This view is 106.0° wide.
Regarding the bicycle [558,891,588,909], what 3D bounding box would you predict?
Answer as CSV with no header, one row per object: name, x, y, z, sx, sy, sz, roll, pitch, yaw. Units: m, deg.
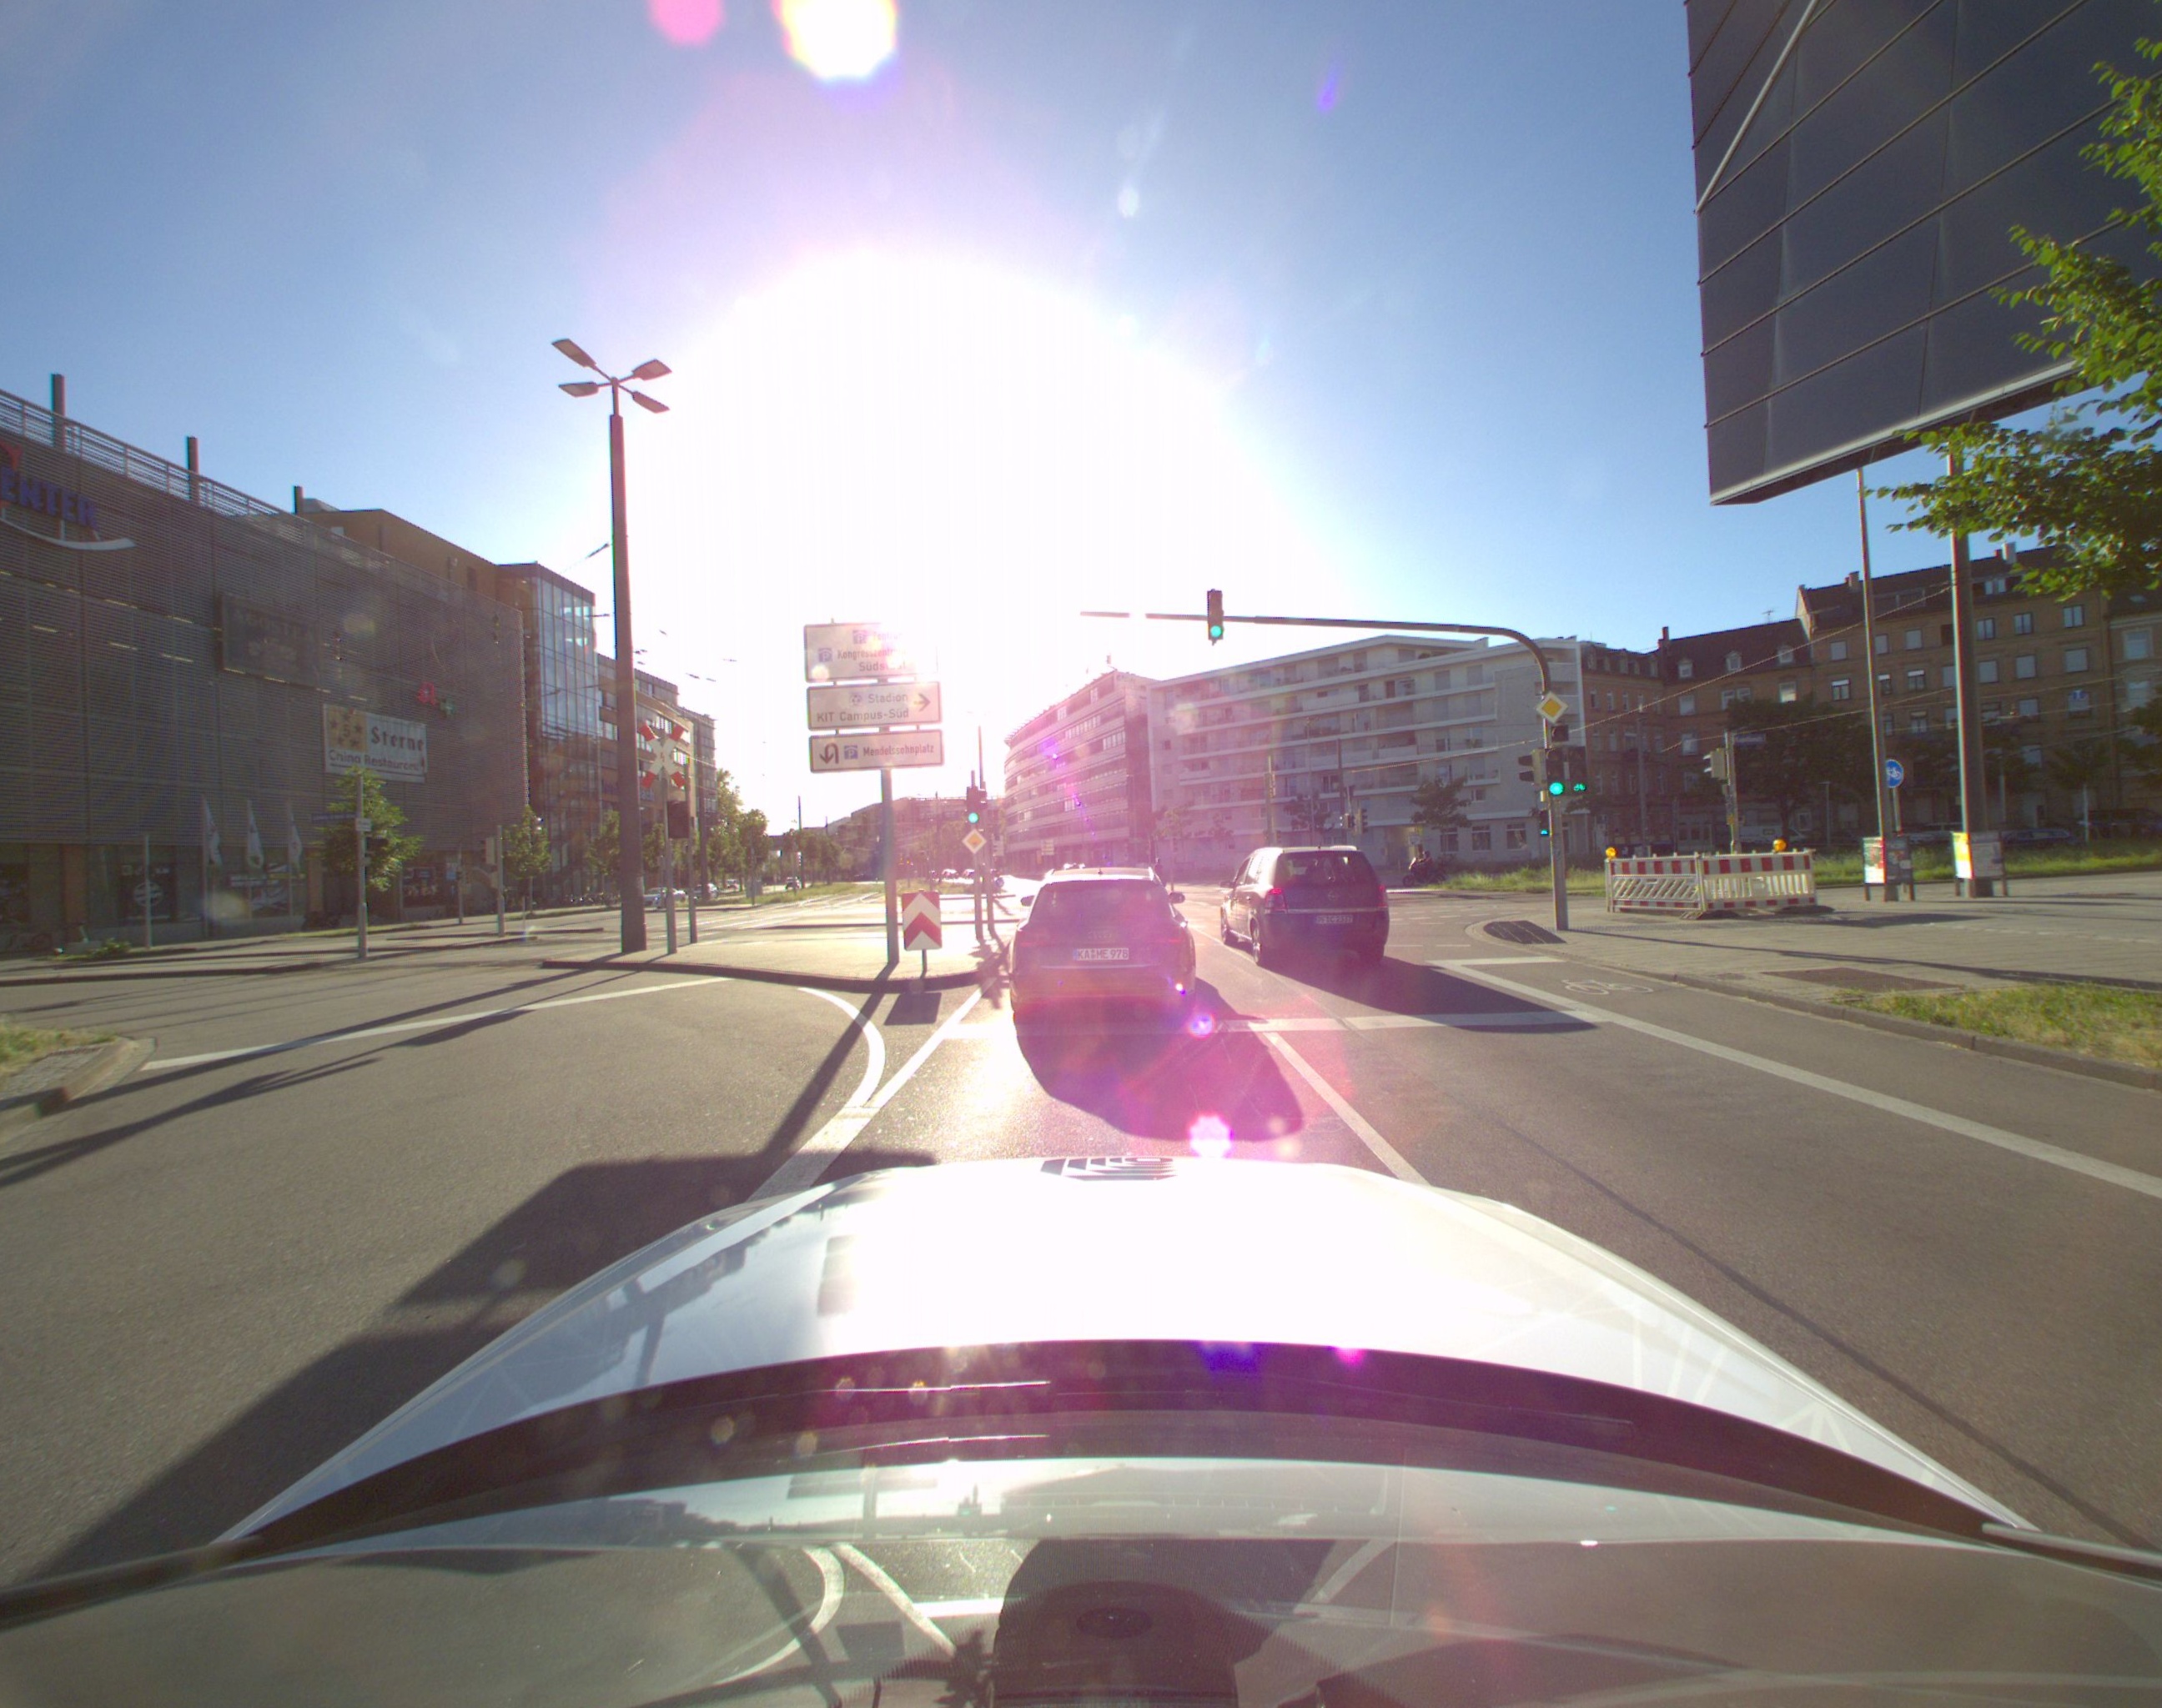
bicycle,-43.751,3.961,70.091,2.070,1.433,0.863,-4,-2,10

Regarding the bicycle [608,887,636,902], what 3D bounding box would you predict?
bicycle,-47.224,4.165,83.763,2.591,1.433,0.773,-4,-2,10

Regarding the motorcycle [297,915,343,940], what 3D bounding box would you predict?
motorcycle,-41.901,4.027,44.852,0.673,1.238,1.893,-3,-2,1

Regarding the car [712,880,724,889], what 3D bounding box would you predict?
car,-96.827,8.144,217.166,2.010,2.013,3.954,-3,0,-37

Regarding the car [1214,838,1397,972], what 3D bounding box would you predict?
car,3.214,0.681,12.553,1.739,1.696,4.261,-1,-1,1

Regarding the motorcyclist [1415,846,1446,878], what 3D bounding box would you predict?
motorcyclist,16.991,0.393,39.630,0.922,1.481,1.171,-3,-1,-1

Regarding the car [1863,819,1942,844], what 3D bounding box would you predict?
car,58.367,-1.586,57.941,1.981,1.486,4.012,-4,-2,11

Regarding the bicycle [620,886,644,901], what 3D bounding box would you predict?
bicycle,-47.460,4.192,86.048,2.231,1.433,0.720,-4,-2,10

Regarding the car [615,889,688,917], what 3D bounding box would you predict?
car,-28.233,3.184,53.665,1.983,1.546,4.538,-3,-1,6

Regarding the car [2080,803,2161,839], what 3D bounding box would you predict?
car,74.021,-2.331,57.211,4.354,2.190,2.013,-5,-2,37

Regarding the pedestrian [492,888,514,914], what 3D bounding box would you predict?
pedestrian,-42.519,3.463,59.919,0.823,1.824,0.905,-4,-2,3

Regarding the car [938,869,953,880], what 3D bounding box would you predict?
car,-23.024,3.432,138.606,1.998,1.706,3.977,-3,-2,-16

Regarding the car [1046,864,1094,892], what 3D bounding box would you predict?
car,-0.774,1.557,53.874,2.008,1.715,4.345,-1,0,-18

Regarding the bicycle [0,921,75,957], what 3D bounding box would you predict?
bicycle,-41.977,3.391,32.402,0.796,1.220,2.418,-3,-1,5

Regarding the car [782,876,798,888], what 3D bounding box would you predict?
car,-42.312,4.114,118.568,2.000,1.640,4.383,-2,-1,-19

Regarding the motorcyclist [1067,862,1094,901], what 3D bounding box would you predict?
motorcyclist,-0.028,0.967,28.951,0.861,1.326,0.680,-2,-1,-5

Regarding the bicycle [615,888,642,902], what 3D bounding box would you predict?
bicycle,-47.335,4.301,85.191,2.399,1.236,0.747,-4,-2,10

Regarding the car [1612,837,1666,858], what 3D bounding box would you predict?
car,46.242,-0.574,67.499,4.010,1.486,1.982,-3,-2,-28

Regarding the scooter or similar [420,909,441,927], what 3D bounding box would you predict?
scooter or similar,-42.995,4.203,53.827,0.419,1.110,1.152,-4,-2,2

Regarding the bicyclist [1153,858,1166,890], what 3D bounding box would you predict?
bicyclist,4.142,1.041,43.032,0.651,1.642,0.973,-3,-1,5

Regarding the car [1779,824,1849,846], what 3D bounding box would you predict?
car,54.047,-1.370,60.145,1.981,1.354,4.012,-4,-2,11

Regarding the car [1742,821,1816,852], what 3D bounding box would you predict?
car,58.534,-1.465,68.407,4.543,2.311,2.013,-4,-1,40

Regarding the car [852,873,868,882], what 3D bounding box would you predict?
car,-48.436,5.101,178.482,1.982,1.706,4.010,-4,-2,9

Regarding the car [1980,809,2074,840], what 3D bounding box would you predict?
car,64.725,-1.988,55.847,1.982,1.772,4.009,-4,-2,8

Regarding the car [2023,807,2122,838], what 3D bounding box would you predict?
car,67.803,-2.096,55.793,1.983,1.772,4.008,-4,-2,7

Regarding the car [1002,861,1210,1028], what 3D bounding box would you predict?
car,0.275,0.821,9.268,1.835,1.454,4.001,-1,0,1

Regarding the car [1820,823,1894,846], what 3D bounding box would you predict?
car,56.259,-1.406,59.148,1.981,1.354,4.012,-4,-2,11

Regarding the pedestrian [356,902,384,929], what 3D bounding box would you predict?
pedestrian,-44.374,3.841,50.814,0.984,1.566,0.829,-4,-2,1

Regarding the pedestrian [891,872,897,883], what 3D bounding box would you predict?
pedestrian,-33.396,4.197,145.753,0.904,1.824,0.825,-3,-2,-15

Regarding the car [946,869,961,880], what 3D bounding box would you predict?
car,-20.795,3.365,132.848,1.996,1.596,3.981,-3,-2,-13

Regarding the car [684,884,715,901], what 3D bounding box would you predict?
car,-35.563,3.551,76.013,1.897,1.407,3.979,-3,0,-15

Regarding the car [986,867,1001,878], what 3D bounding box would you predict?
car,-15.380,3.278,142.555,1.996,1.838,3.981,-3,-2,-13

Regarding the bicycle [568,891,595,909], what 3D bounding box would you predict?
bicycle,-43.671,4.010,71.198,1.965,1.433,0.809,-4,-2,10

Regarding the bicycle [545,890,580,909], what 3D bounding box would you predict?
bicycle,-43.954,3.880,69.024,2.355,1.433,1.079,-4,-2,10

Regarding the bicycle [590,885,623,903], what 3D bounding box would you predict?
bicycle,-43.590,3.680,74.765,2.546,1.433,0.907,-4,-2,10

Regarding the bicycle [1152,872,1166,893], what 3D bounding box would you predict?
bicycle,4.124,1.498,43.028,0.651,1.043,1.932,-3,0,5

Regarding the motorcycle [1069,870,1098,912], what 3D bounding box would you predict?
motorcycle,0.066,1.278,28.870,0.861,1.393,1.891,-2,-1,-4

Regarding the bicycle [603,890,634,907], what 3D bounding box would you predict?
bicycle,-43.857,4.175,77.238,2.546,1.433,0.907,-4,-2,10

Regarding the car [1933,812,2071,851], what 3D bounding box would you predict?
car,41.686,-1.016,36.915,4.229,1.401,1.768,-3,-4,-2

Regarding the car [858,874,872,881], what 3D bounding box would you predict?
car,-52.725,5.723,198.971,2.007,1.640,4.366,-2,-1,-32

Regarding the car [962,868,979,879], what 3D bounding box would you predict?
car,-17.723,3.119,130.216,1.998,1.596,3.976,-3,-2,-17

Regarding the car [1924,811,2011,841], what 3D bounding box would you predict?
car,60.968,-1.897,56.135,1.981,1.772,4.012,-4,-2,11

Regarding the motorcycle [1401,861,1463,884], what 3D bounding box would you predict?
motorcycle,17.062,0.910,39.622,2.445,1.000,1.171,-3,-1,-1
